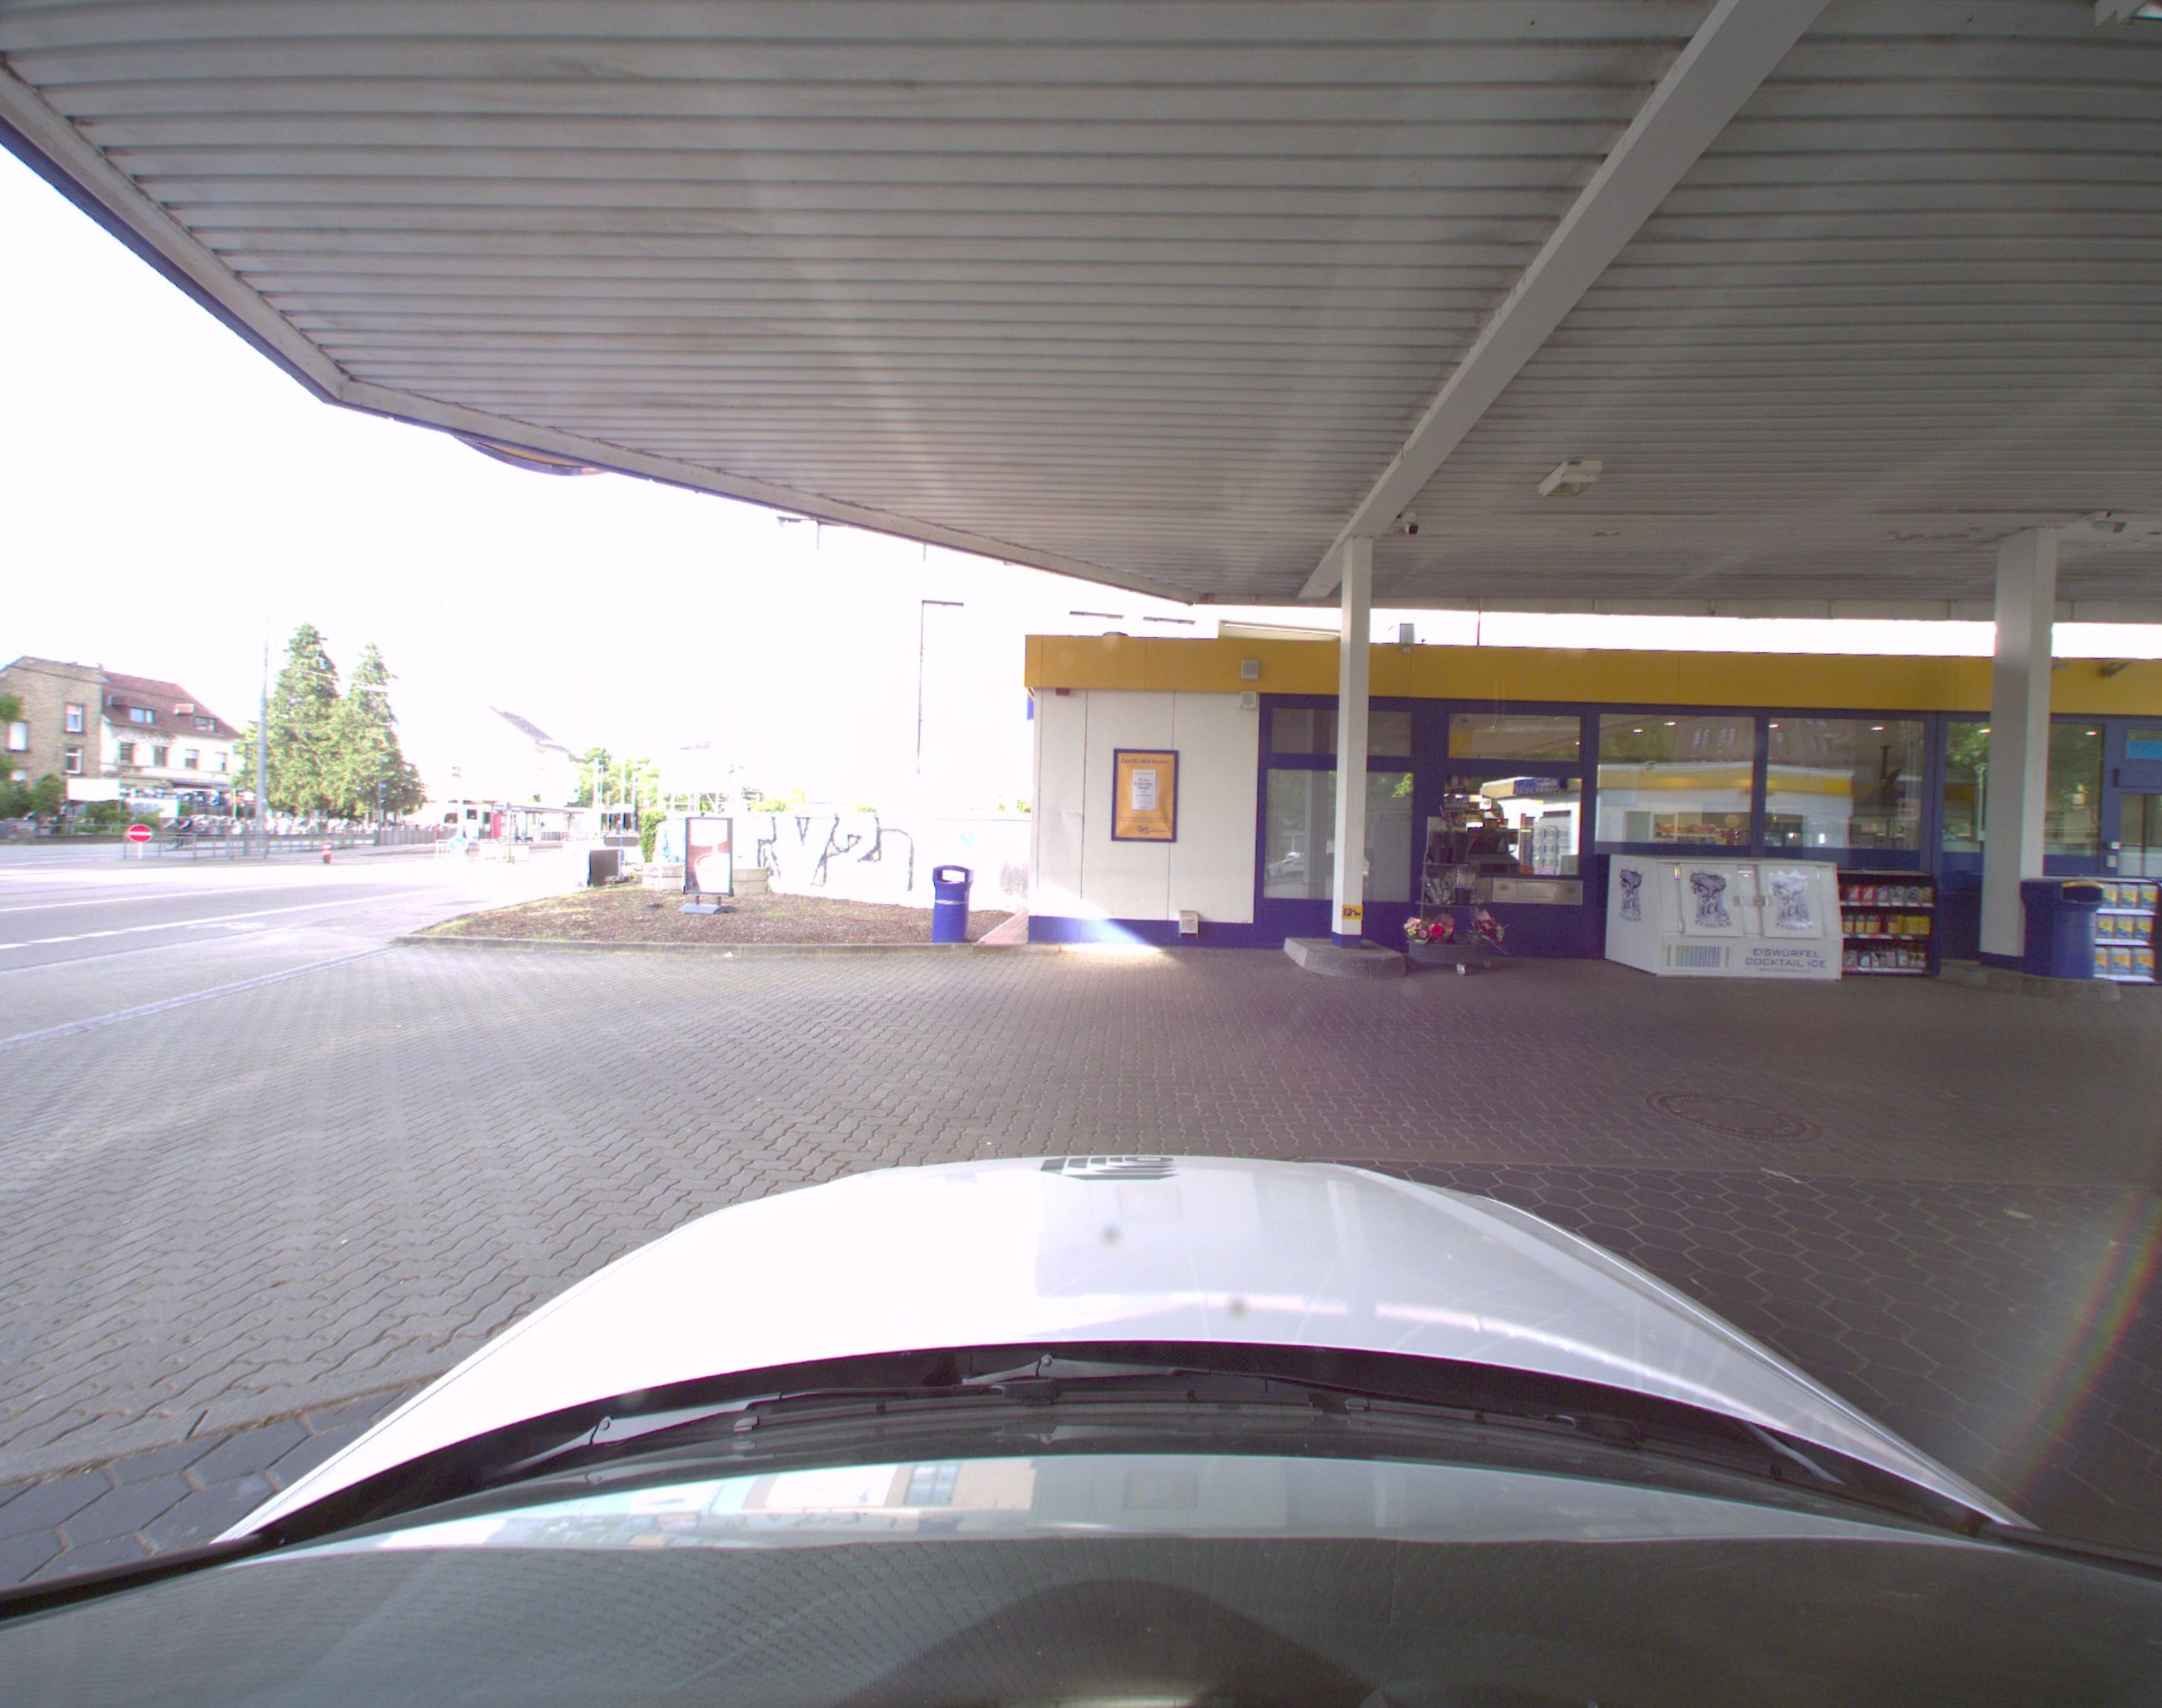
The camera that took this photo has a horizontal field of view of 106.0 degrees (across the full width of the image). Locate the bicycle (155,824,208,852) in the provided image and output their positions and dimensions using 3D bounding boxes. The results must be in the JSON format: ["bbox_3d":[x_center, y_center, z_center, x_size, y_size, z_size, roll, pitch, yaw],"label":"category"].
[{"bbox_3d":[-40.456,-0.708,36.658,0.680,1.222,1.908,0,1,-17],"label":"bicycle"}]

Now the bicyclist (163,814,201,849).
[{"bbox_3d":[-40.450,-1.011,36.659,0.680,1.534,1.079,0,1,-18],"label":"bicyclist"}]

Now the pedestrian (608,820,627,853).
[{"bbox_3d":[-28.957,-1.103,50.884,0.807,2.014,0.846,0,-1,-14],"label":"pedestrian"}]
